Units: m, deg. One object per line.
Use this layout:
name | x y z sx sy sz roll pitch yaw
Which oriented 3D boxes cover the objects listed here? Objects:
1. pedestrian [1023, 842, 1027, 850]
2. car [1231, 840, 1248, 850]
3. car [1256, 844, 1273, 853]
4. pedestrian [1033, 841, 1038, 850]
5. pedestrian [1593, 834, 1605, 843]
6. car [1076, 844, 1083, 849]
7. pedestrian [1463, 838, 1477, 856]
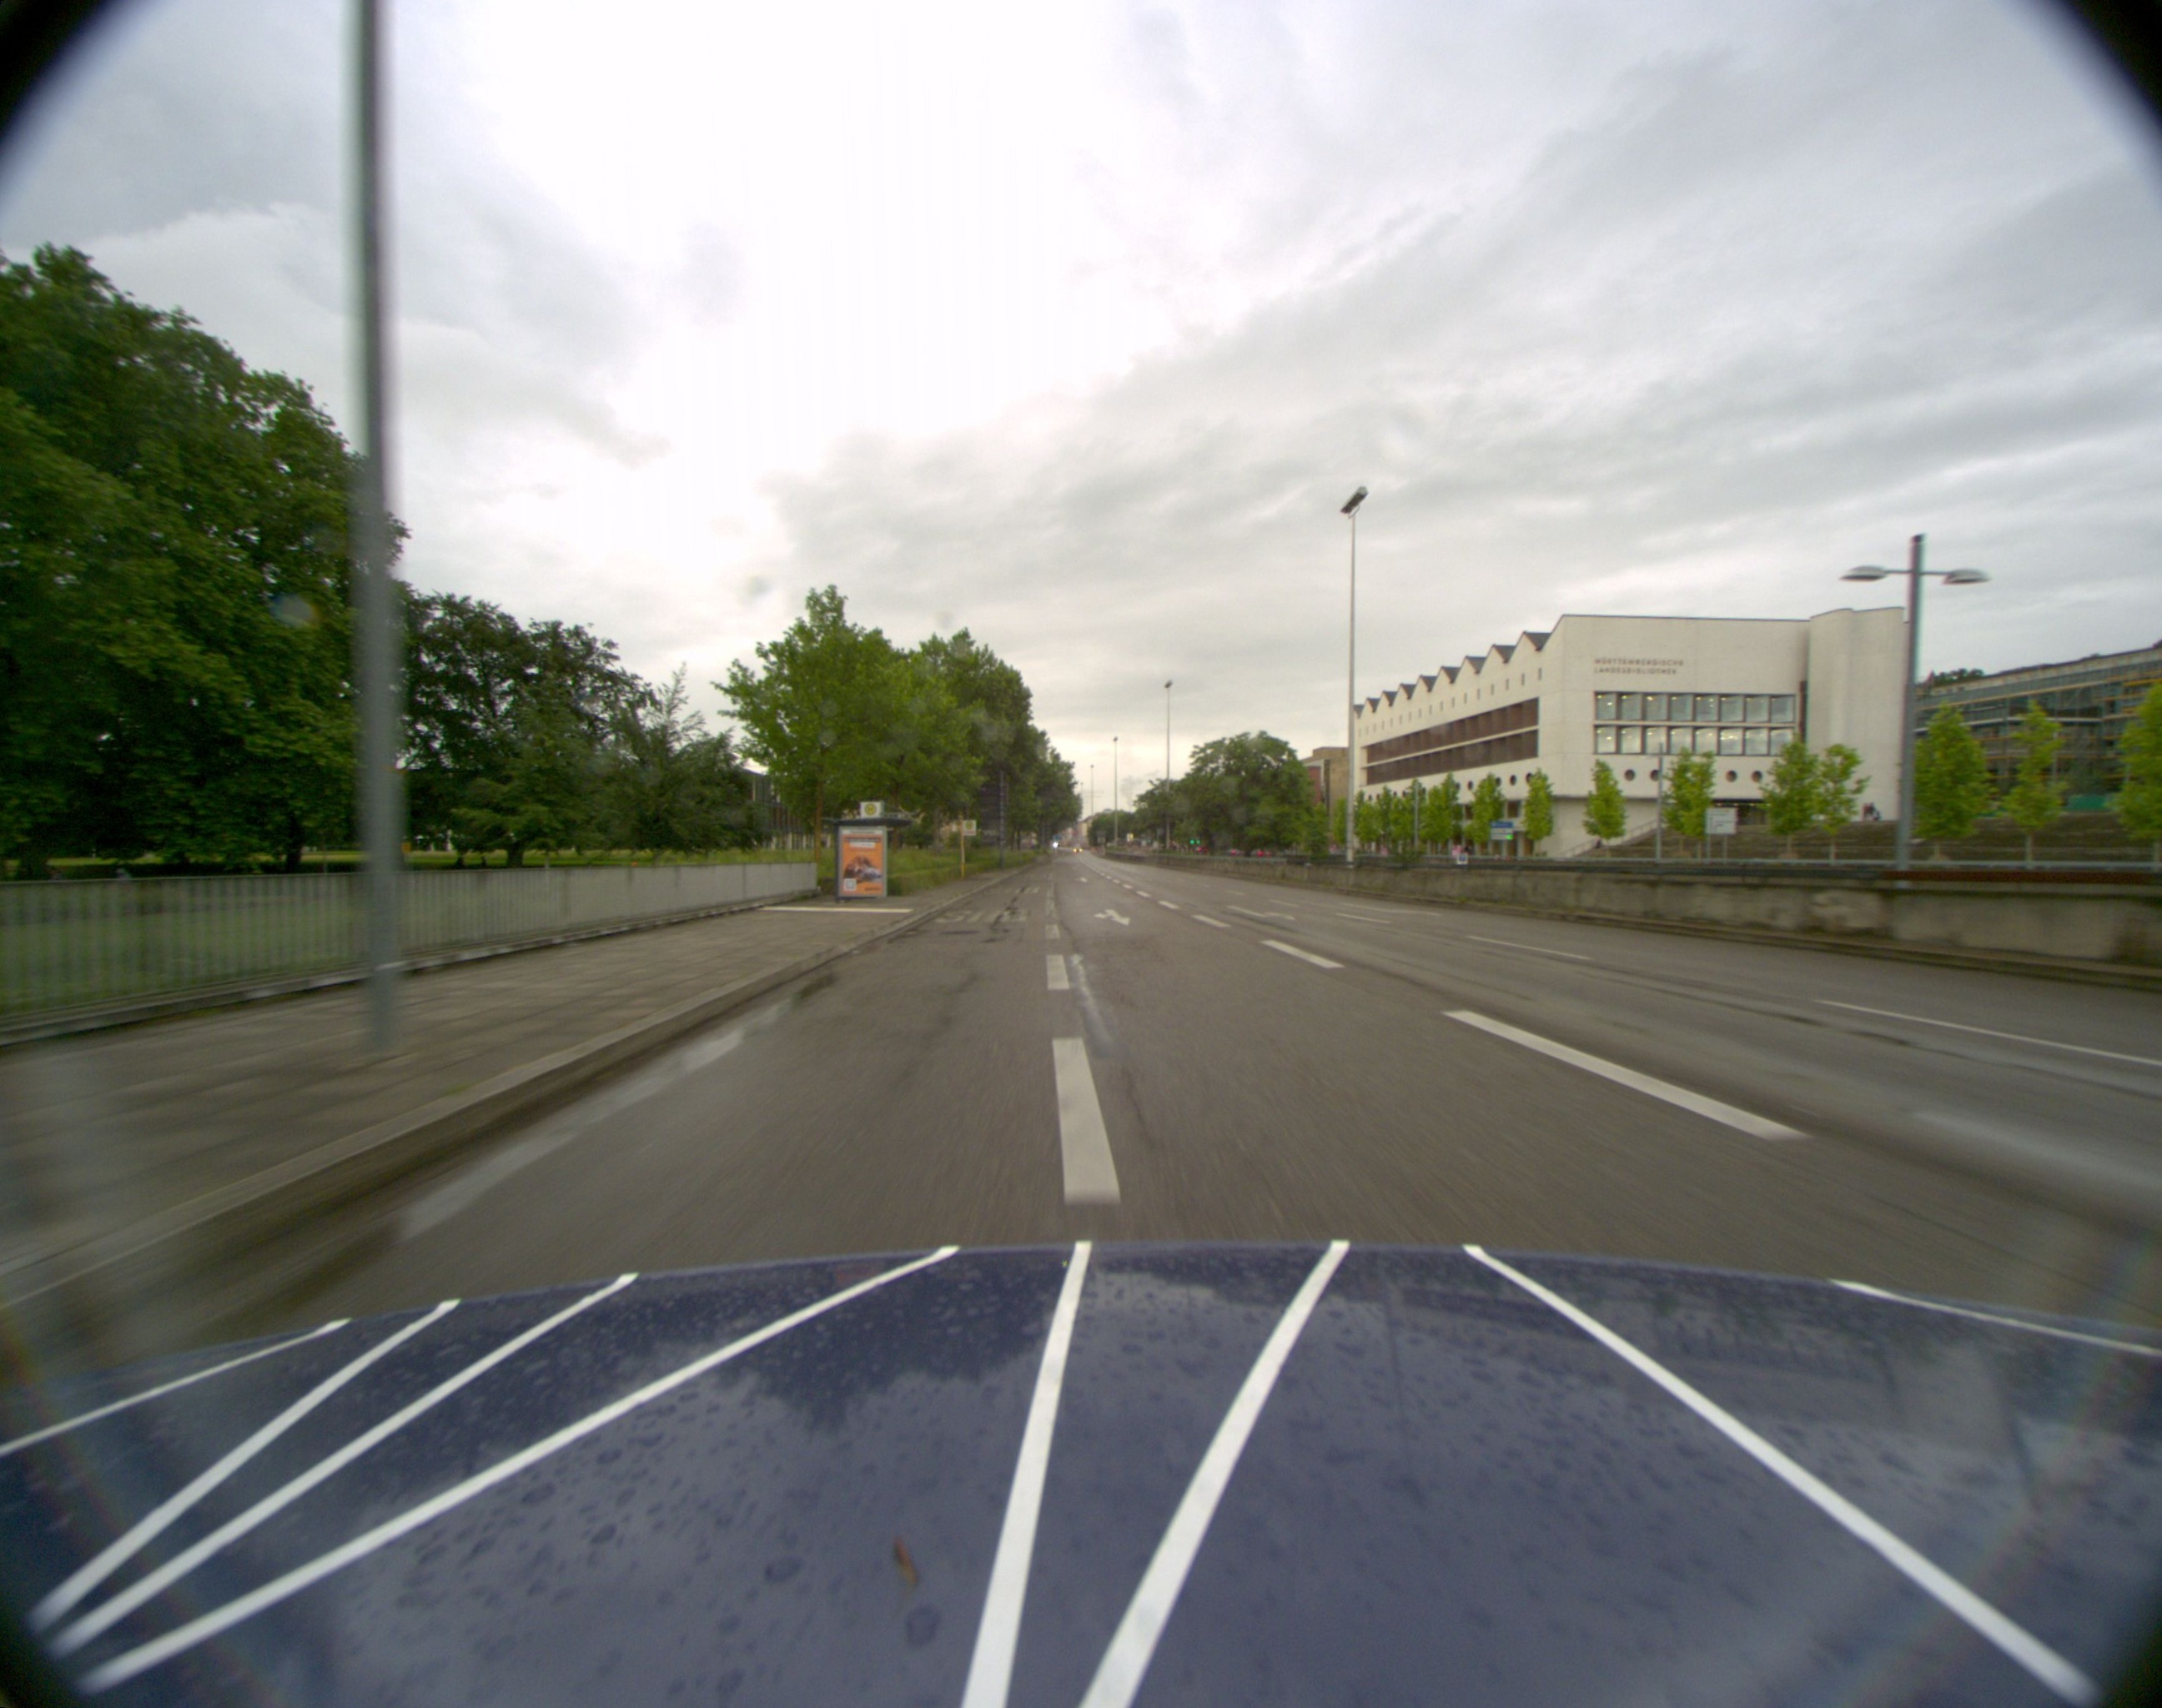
pedestrian | -11.640 -1.685 157.589 0.671 1.656 0.587 0 2 -18
car | 26.622 -1.527 127.623 1.699 1.547 3.473 -2 2 -6
car | 26.680 -0.757 110.758 1.569 1.220 3.540 -2 2 -1
pedestrian | -9.497 -1.734 158.485 0.593 1.764 0.588 0 3 35
pedestrian | 51.178 -1.523 75.072 0.809 0.882 0.628 -2 2 -1
car | -0.362 -1.805 191.175 1.518 1.138 2.760 -1 2 1
pedestrian | 41.304 -0.743 80.683 1.088 1.856 0.829 -1 2 3
